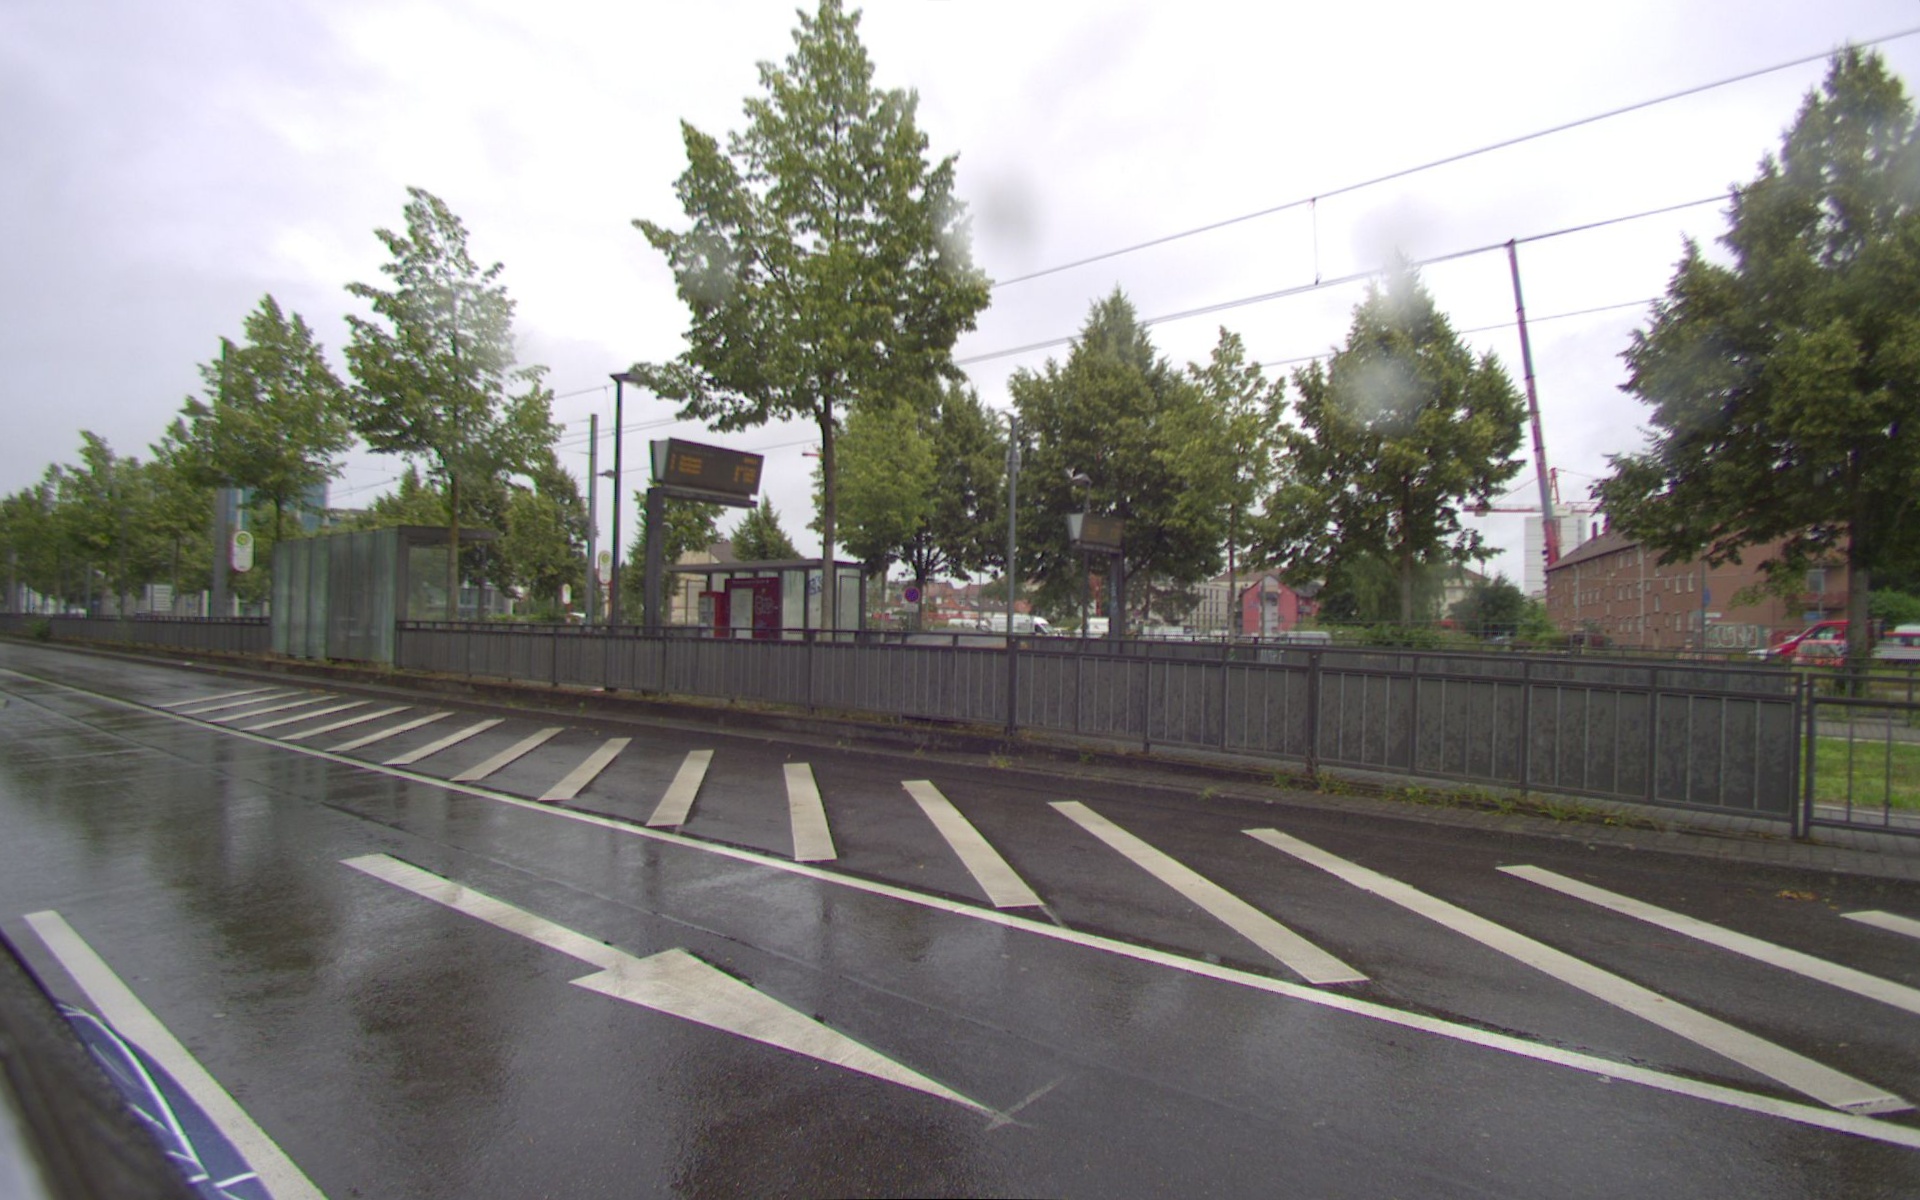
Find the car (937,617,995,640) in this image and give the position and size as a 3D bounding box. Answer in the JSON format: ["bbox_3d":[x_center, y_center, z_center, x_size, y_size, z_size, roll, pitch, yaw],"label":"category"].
[{"bbox_3d":[0.597,2.989,108.318,6.123,2.323,1.978,0,0,32],"label":"car"}]

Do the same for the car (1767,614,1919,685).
[{"bbox_3d":[33.567,1.768,36.710,1.597,2.489,6.500,2,-2,-39],"label":"car"}]

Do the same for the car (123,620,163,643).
[{"bbox_3d":[-74.384,2.890,92.141,3.991,2.029,1.741,-1,-2,35],"label":"car"}]

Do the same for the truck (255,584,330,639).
[{"bbox_3d":[-49.793,0.793,75.336,9.184,3.806,2.657,0,0,43],"label":"truck"}]

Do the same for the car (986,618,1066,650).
[{"bbox_3d":[5.523,2.810,85.686,6.735,2.480,1.975,0,0,37],"label":"car"}]

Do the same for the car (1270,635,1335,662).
[{"bbox_3d":[26.347,3.710,77.949,4.415,1.891,1.855,0,0,34],"label":"car"}]

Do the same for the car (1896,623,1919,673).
[{"bbox_3d":[45.928,2.170,44.978,1.597,2.296,6.114,2,-3,-37],"label":"car"}]

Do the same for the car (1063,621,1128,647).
[{"bbox_3d":[11.865,2.953,88.713,5.411,2.067,1.976,0,0,37],"label":"car"}]

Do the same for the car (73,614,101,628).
[{"bbox_3d":[-113.869,2.704,132.011,3.995,1.759,1.974,0,0,38],"label":"car"}]

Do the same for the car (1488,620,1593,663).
[{"bbox_3d":[35.811,2.502,62.545,5.482,2.471,1.976,0,0,36],"label":"car"}]
